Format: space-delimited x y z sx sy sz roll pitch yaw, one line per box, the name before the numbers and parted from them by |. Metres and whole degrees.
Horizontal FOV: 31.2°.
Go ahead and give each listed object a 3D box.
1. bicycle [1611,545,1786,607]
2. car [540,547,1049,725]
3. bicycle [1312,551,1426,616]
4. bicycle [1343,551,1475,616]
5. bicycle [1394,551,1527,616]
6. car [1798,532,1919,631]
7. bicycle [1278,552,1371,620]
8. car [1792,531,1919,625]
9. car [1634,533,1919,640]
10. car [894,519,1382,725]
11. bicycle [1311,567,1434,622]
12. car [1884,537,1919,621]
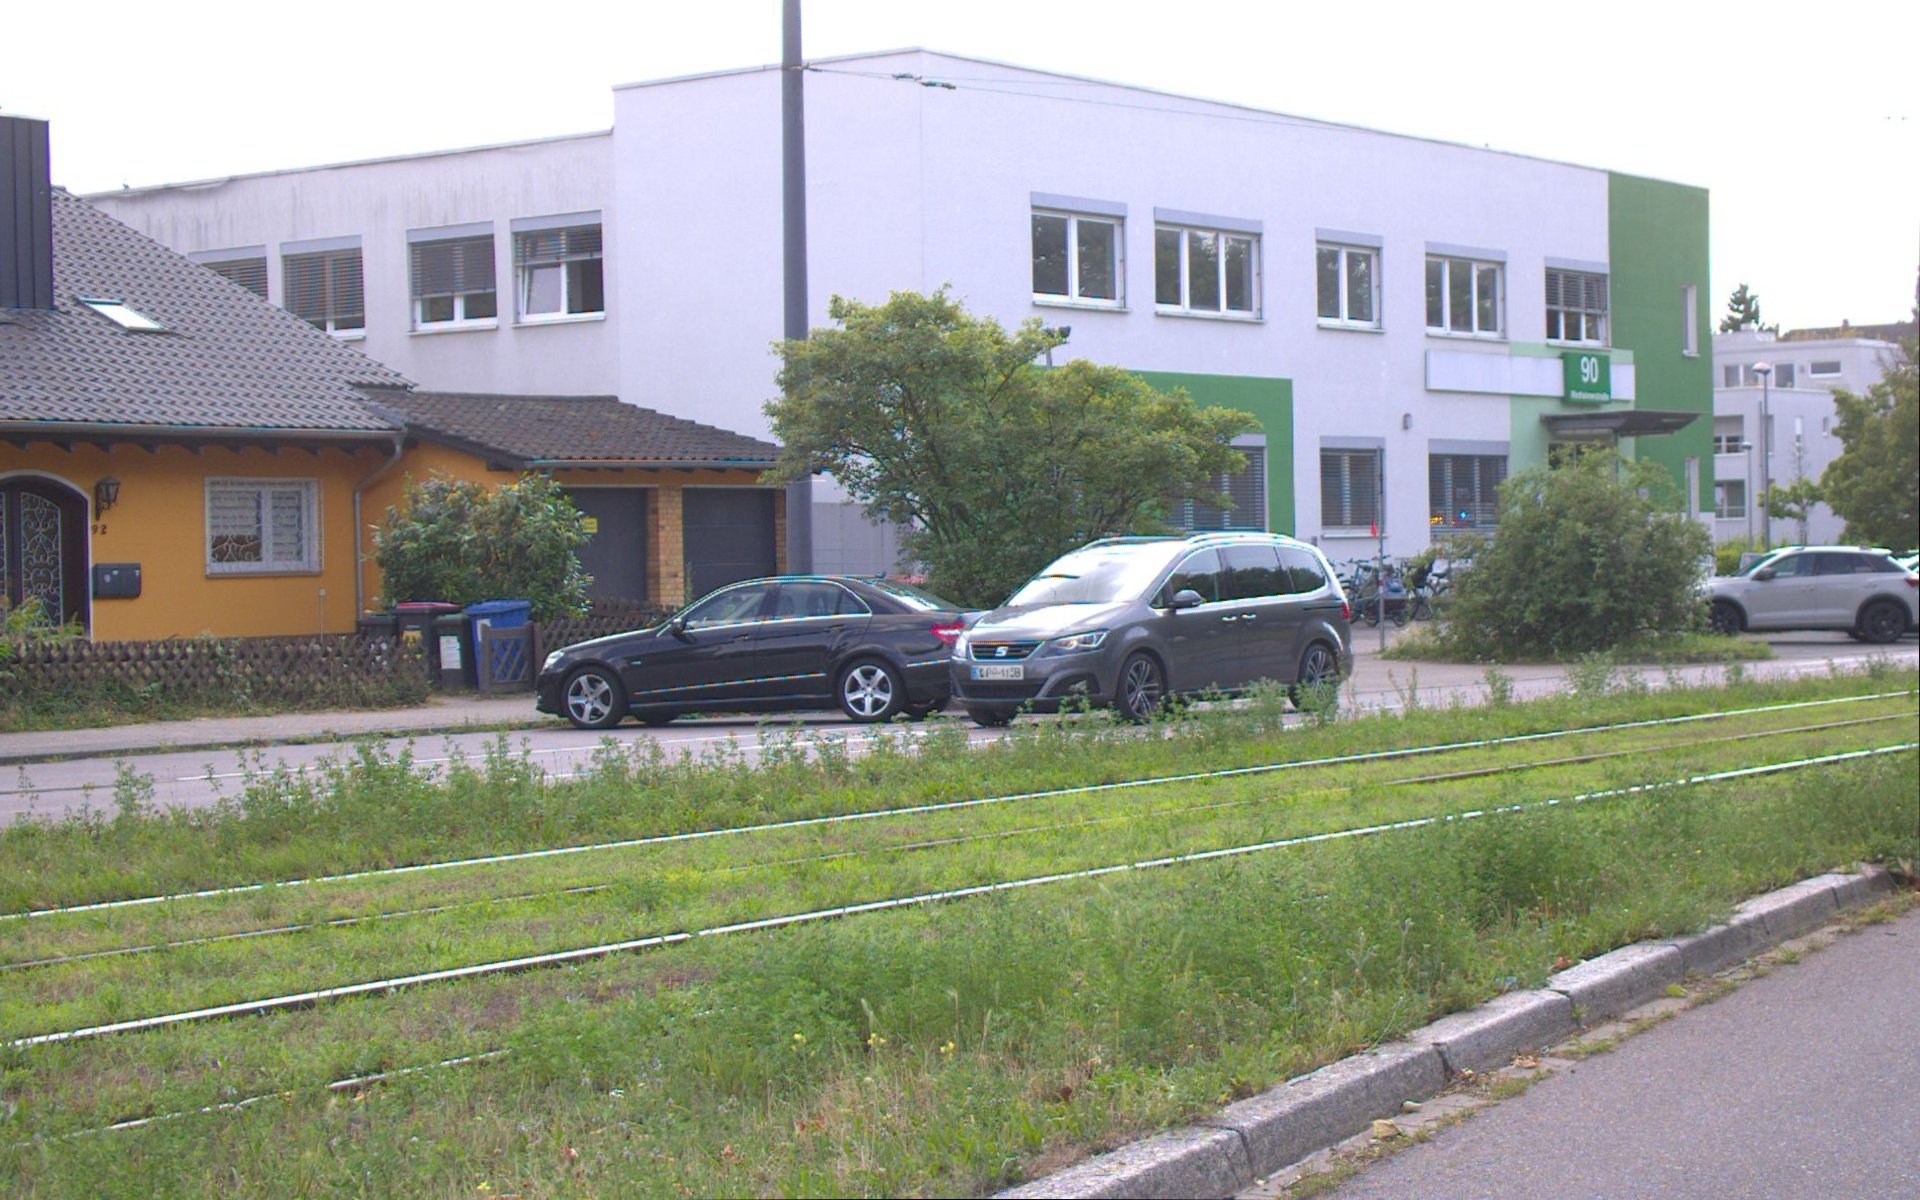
bicycle | 14.512 -0.474 67.590 3.139 1.162 1.140 -1 1 33
car | -1.610 0.347 33.934 4.568 1.575 1.998 -2 1 17
bicycle | 7.006 -0.287 58.882 1.795 1.078 0.735 -1 1 35
bicycle | 8.127 -0.295 62.310 2.350 1.162 0.759 0 1 43
bicycle | 9.161 -0.291 62.955 2.416 1.162 0.746 0 1 44
car | 16.353 -0.324 57.724 4.302 1.623 1.901 0 1 9
bicycle | 6.420 -0.244 60.543 0.704 1.162 1.620 -2 1 -36
car | 16.877 -0.398 60.276 4.302 1.623 1.901 0 1 9
car | 13.192 -0.230 55.470 4.301 1.623 1.902 -1 1 4
car | 1.726 0.149 31.721 1.998 1.716 4.729 0 1 41
bicycle | 7.399 -0.093 61.726 2.157 0.967 0.729 0 1 41
car | 19.043 -0.404 62.518 4.158 1.498 1.860 0 1 10
